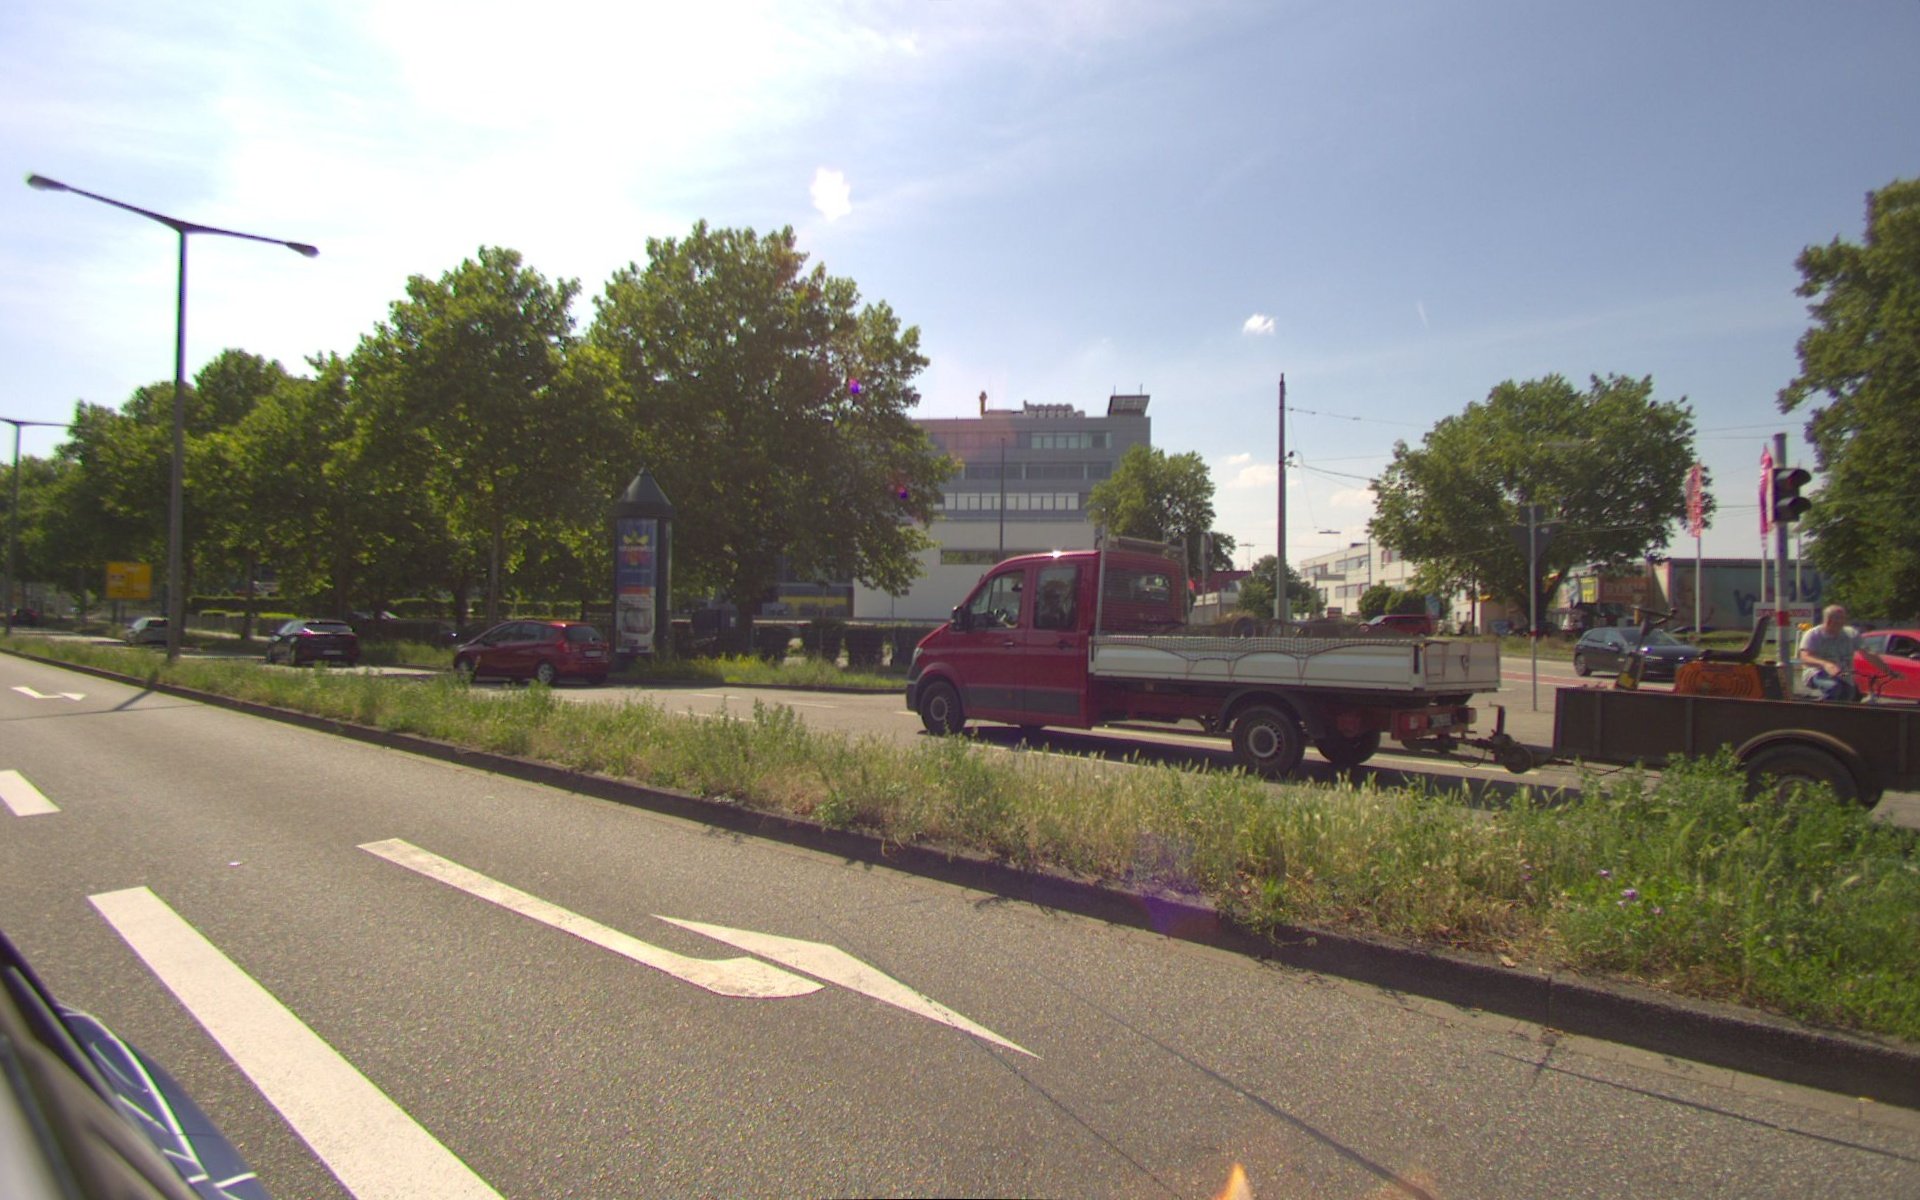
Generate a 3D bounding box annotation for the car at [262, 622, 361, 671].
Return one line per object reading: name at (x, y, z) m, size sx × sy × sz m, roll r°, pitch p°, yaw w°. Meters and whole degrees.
car at (-20.538, 1.442, 31.996) m, size 1.818 × 1.433 × 3.897 m, roll 3°, pitch -3°, yaw -45°

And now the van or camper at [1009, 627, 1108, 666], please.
van or camper at (4.502, 2.124, 46.738) m, size 4.453 × 1.705 × 1.998 m, roll 0°, pitch -1°, yaw 4°

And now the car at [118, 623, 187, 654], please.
car at (-39.438, 1.854, 49.369) m, size 4.219 × 1.433 × 1.820 m, roll -1°, pitch -4°, yaw 41°

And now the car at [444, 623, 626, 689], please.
car at (-9.935, 1.298, 23.686) m, size 3.742 × 1.445 × 1.840 m, roll -1°, pitch -3°, yaw 23°

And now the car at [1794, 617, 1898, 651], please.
car at (61.003, 2.319, 69.767) m, size 4.981 × 2.295 × 2.147 m, roll 0°, pitch -2°, yaw 7°

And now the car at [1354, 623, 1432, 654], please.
car at (32.788, 2.904, 76.783) m, size 4.970 × 2.295 × 2.152 m, roll 0°, pitch -2°, yaw 0°

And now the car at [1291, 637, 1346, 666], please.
car at (22.515, 3.220, 63.703) m, size 1.972 × 1.712 × 4.000 m, roll 0°, pitch -2°, yaw -1°

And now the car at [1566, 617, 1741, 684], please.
car at (19.040, 1.344, 28.044) m, size 1.971 × 1.712 × 4.001 m, roll 0°, pitch -2°, yaw -2°

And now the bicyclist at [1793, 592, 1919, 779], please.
bicyclist at (9.089, 0.837, 10.252) m, size 0.698 × 1.802 × 0.765 m, roll 0°, pitch -2°, yaw 12°

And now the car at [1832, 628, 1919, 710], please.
car at (18.007, 1.225, 17.934) m, size 1.824 × 1.460 × 3.993 m, roll 0°, pitch -2°, yaw 5°

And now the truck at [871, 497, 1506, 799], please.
truck at (2.071, 0.462, 11.660) m, size 2.115 × 2.494 × 7.133 m, roll 2°, pitch -2°, yaw -45°

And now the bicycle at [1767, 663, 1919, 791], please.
bicycle at (9.068, 1.215, 10.199) m, size 0.520 × 1.072 × 2.157 m, roll 0°, pitch -1°, yaw 11°

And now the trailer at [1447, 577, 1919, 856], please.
trailer at (6.110, 0.752, 7.574) m, size 2.038 × 1.729 × 3.993 m, roll 2°, pitch -2°, yaw -45°
